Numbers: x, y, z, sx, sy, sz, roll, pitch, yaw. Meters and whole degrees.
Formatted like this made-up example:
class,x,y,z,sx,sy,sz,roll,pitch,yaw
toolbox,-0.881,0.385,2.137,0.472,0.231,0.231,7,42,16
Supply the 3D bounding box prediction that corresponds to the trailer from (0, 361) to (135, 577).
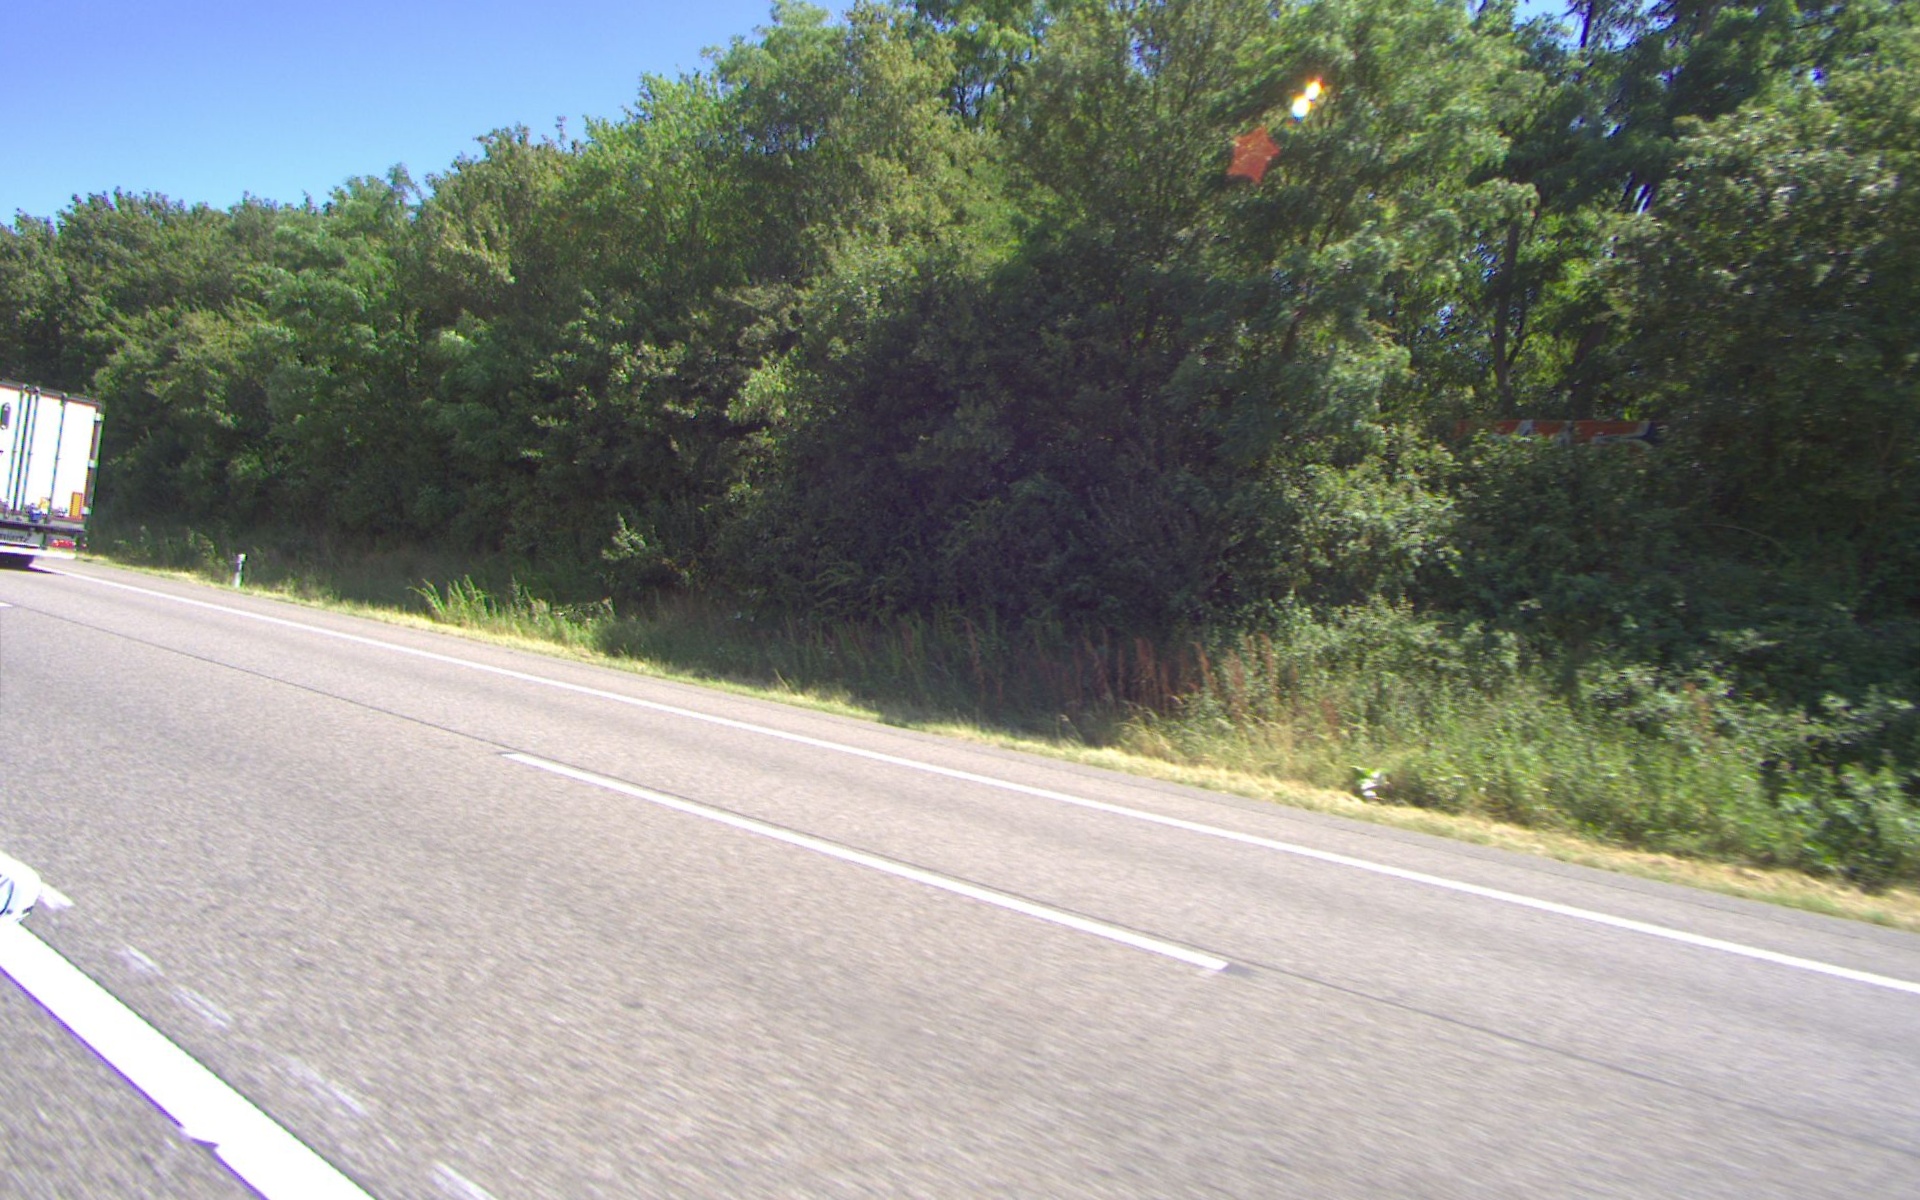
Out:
class,x,y,z,sx,sy,sz,roll,pitch,yaw
trailer,-25.627,-3.444,25.141,13.604,4.274,3.045,7,-1,31
